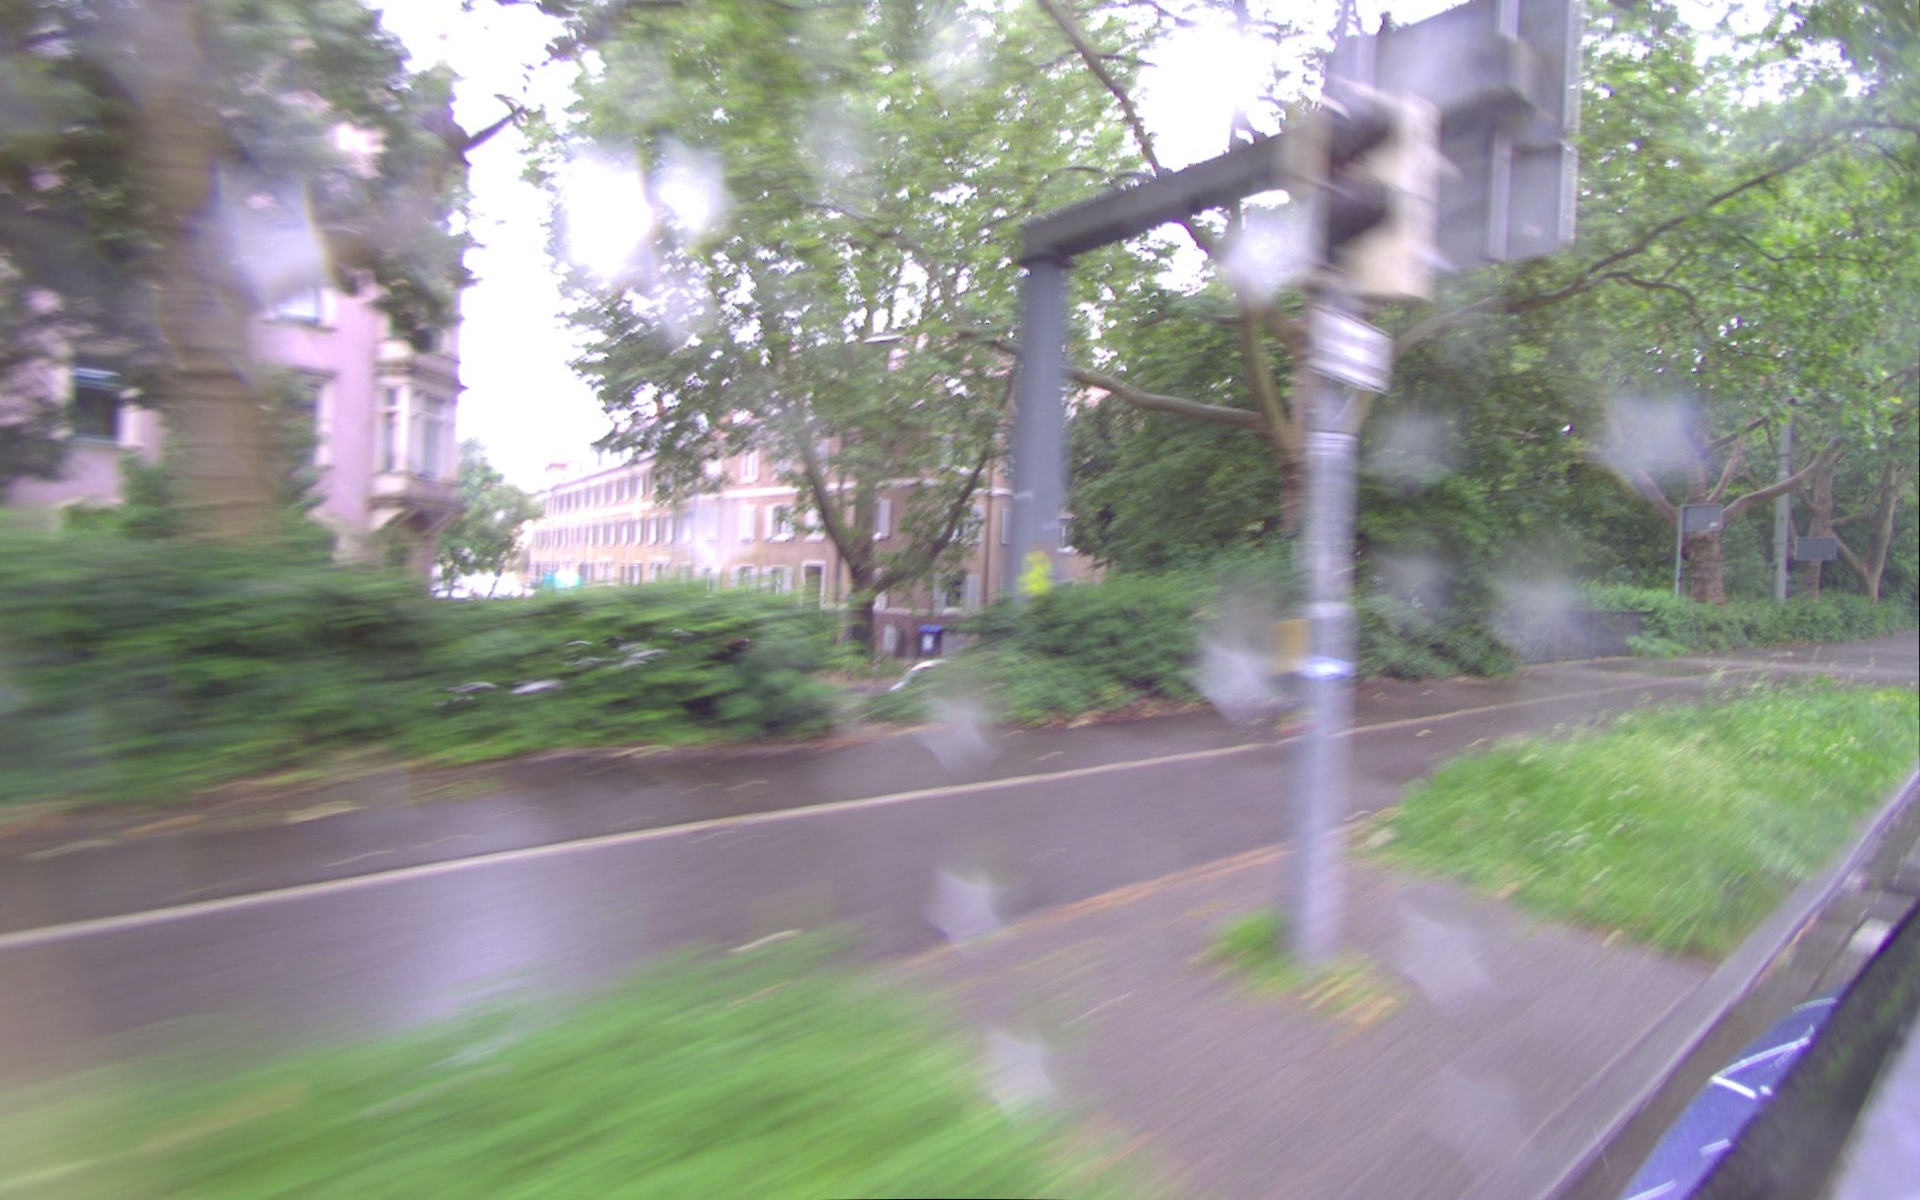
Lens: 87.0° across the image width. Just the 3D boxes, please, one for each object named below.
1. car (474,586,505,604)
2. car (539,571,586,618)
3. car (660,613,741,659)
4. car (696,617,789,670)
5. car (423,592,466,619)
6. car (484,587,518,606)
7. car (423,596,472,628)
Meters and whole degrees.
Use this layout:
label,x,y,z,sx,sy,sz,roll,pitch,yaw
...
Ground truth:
label,x,y,z,sx,sy,sz,roll,pitch,yaw
car,-40.871,-0.469,87.860,1.889,1.488,3.911,-1,2,-33
car,-24.268,-0.377,61.741,1.889,2.739,3.911,-1,2,-33
car,-10.105,1.357,39.201,1.889,1.488,3.911,-1,2,-33
car,-7.626,1.455,35.181,1.889,1.488,3.911,-1,2,-33
car,-31.123,0.311,61.096,1.889,1.488,3.911,-1,2,-33
car,-37.525,-0.316,82.682,1.889,1.488,3.911,-1,2,-33
car,-26.942,0.600,53.133,1.889,1.488,3.911,-1,2,-33
